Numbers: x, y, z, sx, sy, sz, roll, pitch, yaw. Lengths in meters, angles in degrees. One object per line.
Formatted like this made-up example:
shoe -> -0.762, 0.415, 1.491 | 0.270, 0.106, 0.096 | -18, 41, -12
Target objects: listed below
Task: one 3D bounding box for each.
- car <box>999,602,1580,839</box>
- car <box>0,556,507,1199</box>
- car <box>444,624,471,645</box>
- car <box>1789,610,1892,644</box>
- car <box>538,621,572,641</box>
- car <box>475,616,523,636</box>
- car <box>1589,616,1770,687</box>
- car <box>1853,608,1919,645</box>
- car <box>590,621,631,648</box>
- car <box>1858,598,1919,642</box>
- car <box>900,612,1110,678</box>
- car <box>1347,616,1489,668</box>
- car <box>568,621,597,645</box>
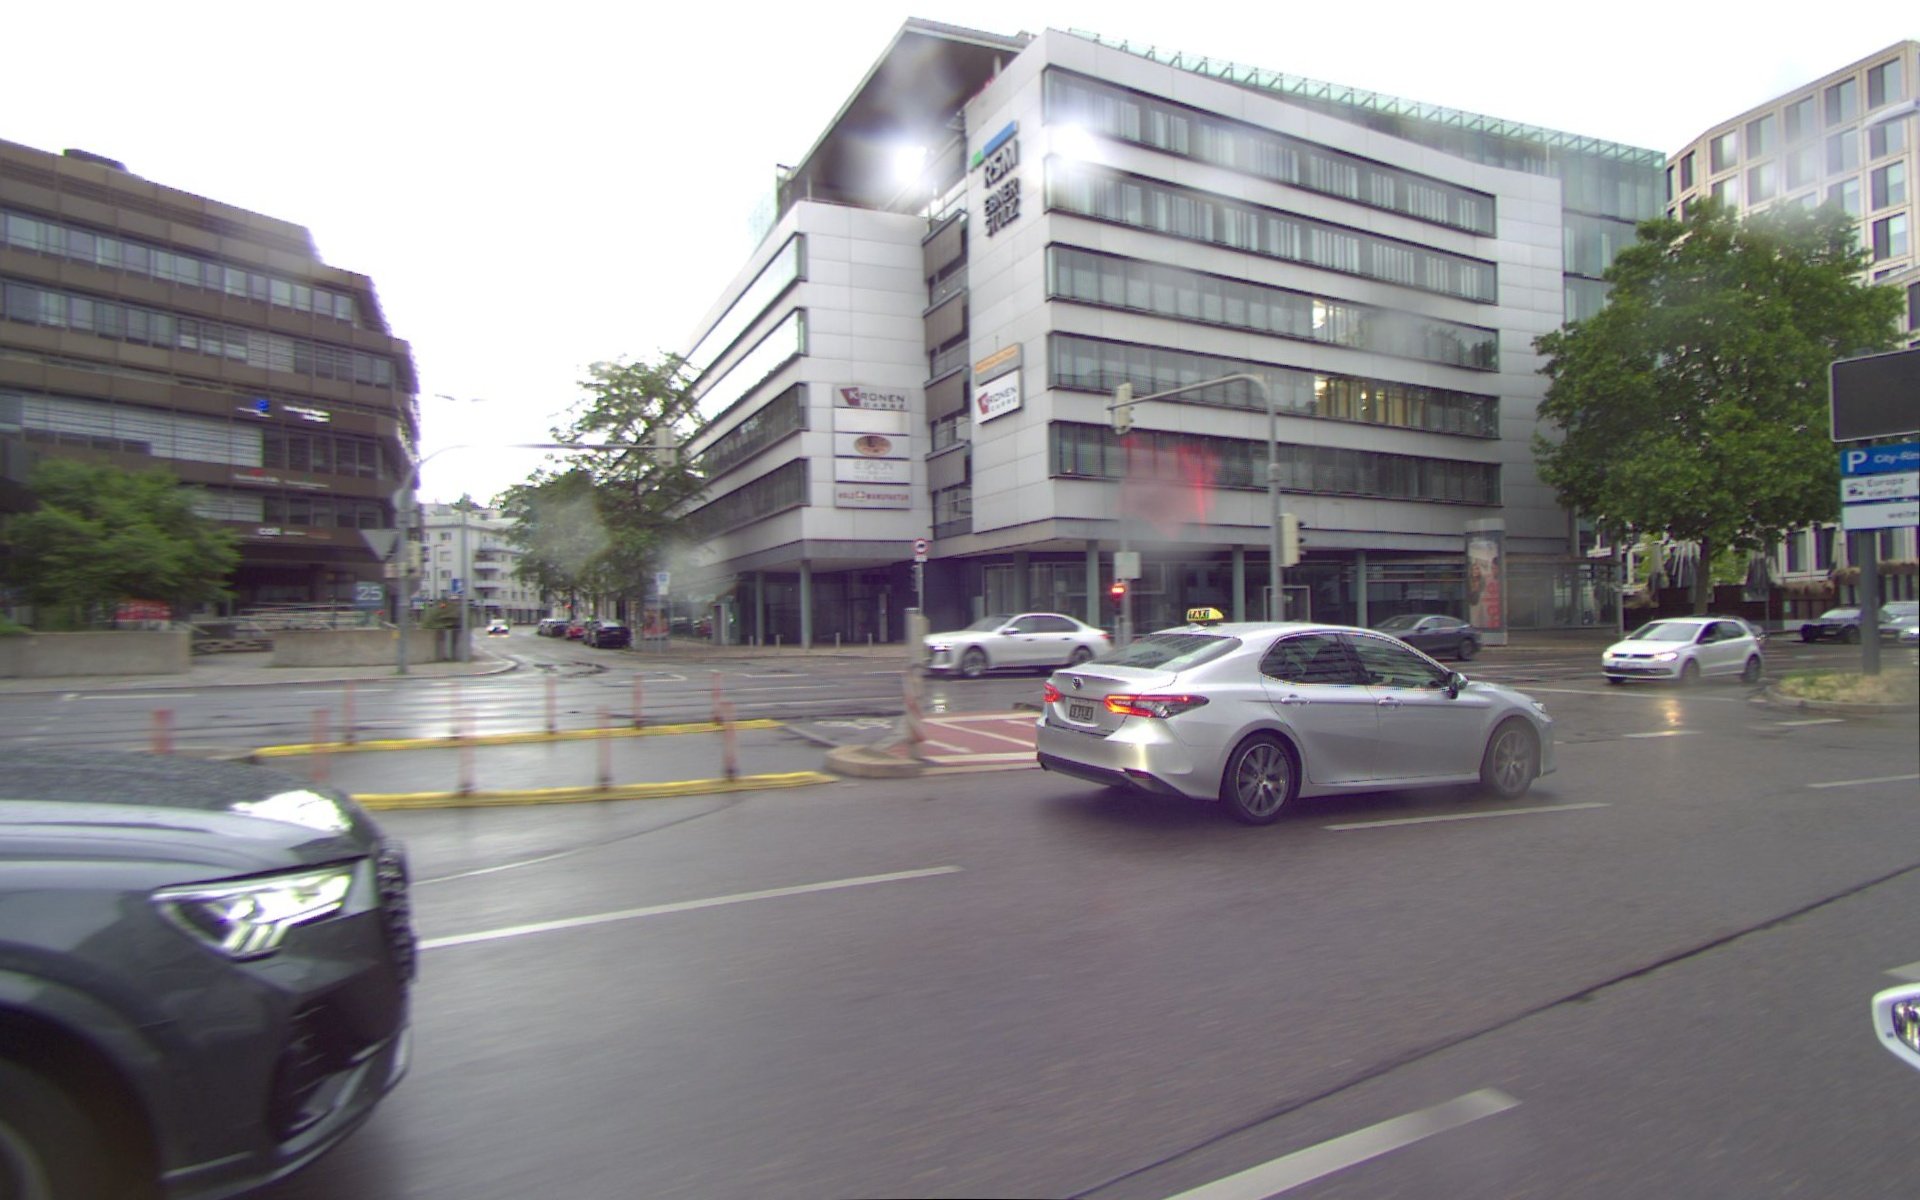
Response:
car -> 2.837, 0.850, 8.473 | 4.714, 1.553, 1.859 | 1, -1, -26
car -> -3.247, 0.667, 1.825 | 4.225, 1.542, 1.639 | 1, -1, -33
car -> -42.797, 2.899, 85.582 | 1.758, 1.650, 3.978 | 2, -2, -23
car -> 40.632, 1.232, 46.374 | 3.940, 1.508, 1.991 | 0, -1, -21
car -> -33.834, 2.568, 83.871 | 1.773, 1.617, 3.850 | 2, -1, -36
car -> -43.707, 2.439, 95.326 | 3.953, 1.807, 1.894 | 2, -2, -30
car -> 16.126, 1.107, 22.498 | 3.854, 1.456, 1.627 | 0, -1, -25
car -> 40.590, 1.113, 42.948 | 3.940, 1.508, 1.991 | 0, -1, -21
car -> -20.536, 1.999, 58.960 | 1.674, 1.491, 3.971 | 2, -2, -28
car -> 46.023, 0.963, 48.508 | 4.853, 2.038, 1.991 | 0, -1, -21
car -> 1.185, 1.075, 25.194 | 5.136, 1.530, 1.804 | 0, -1, -31
car -> 14.770, 1.303, 32.368 | 4.530, 1.579, 1.627 | 0, -1, -25
car -> -28.049, 2.406, 74.547 | 1.681, 1.672, 3.883 | 2, -2, -26
